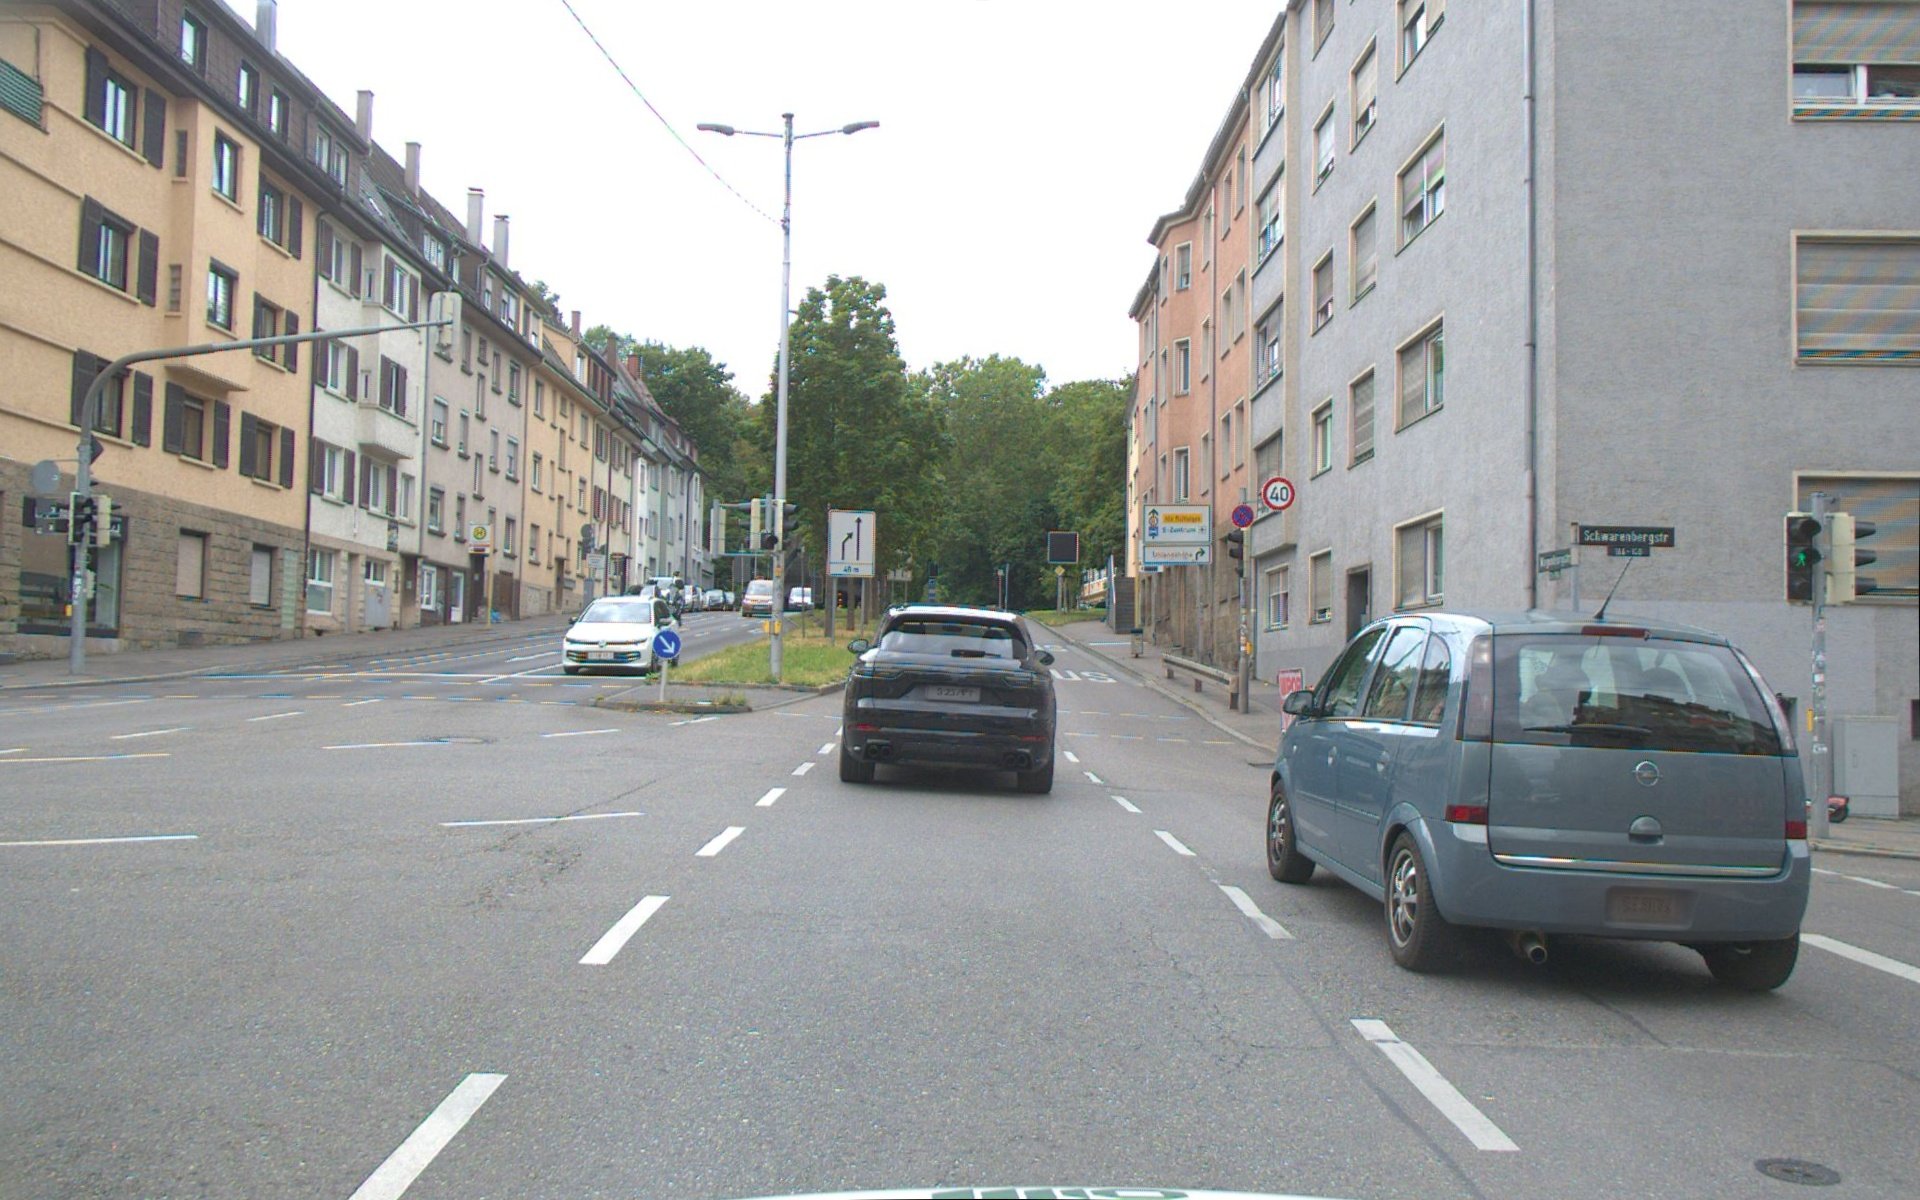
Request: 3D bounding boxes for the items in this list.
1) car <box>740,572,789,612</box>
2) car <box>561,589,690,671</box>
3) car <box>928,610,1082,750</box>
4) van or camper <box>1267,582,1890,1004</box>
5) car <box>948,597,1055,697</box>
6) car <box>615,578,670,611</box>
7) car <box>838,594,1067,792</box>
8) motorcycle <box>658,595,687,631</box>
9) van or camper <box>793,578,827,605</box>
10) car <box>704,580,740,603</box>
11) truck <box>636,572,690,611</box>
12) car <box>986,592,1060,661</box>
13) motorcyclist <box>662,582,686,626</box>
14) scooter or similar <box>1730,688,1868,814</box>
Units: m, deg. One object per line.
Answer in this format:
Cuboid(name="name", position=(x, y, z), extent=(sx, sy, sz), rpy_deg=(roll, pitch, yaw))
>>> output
Cuboid(name="car", position=(-9.707, -0.381, 82.328), extent=(1.841, 1.847, 4.351), rpy_deg=(2, 0, 0))
Cuboid(name="car", position=(-6.630, 0.550, 33.221), extent=(1.710, 1.493, 4.585), rpy_deg=(1, 0, -1))
Cuboid(name="car", position=(0.600, 1.004, 22.484), extent=(1.894, 1.682, 4.001), rpy_deg=(0, 0, 1))
Cuboid(name="van or camper", position=(2.792, 0.760, 8.372), extent=(1.700, 1.605, 3.645), rpy_deg=(2, 0, -1))
Cuboid(name="car", position=(0.776, 0.839, 31.481), extent=(1.894, 1.682, 4.001), rpy_deg=(0, 1, 1))
Cuboid(name="car", position=(-15.512, -0.264, 81.058), extent=(1.953, 1.579, 4.157), rpy_deg=(1, 0, -1))
Cuboid(name="car", position=(-0.028, 0.809, 16.175), extent=(1.952, 1.682, 4.000), rpy_deg=(0, 0, 1))
Cuboid(name="motorcycle", position=(-9.942, 0.452, 57.304), extent=(0.533, 1.205, 2.205), rpy_deg=(2, -1, 1))
Cuboid(name="van or camper", position=(-10.395, -0.581, 114.622), extent=(1.869, 1.792, 4.654), rpy_deg=(2, 0, 0))
Cuboid(name="car", position=(-15.372, -0.534, 106.987), extent=(1.954, 1.448, 4.208), rpy_deg=(1, 0, -4))
Cuboid(name="truck", position=(-15.589, -0.424, 87.136), extent=(1.953, 1.953, 5.346), rpy_deg=(1, 0, -1))
Cuboid(name="car", position=(1.666, 0.674, 44.579), extent=(1.894, 1.682, 4.001), rpy_deg=(0, 1, 1))
Cuboid(name="motorcyclist", position=(-9.931, 0.138, 57.468), extent=(0.659, 1.501, 0.662), rpy_deg=(2, -1, 1))
Cuboid(name="scooter or similar", position=(9.128, 1.626, 18.009), extent=(1.231, 1.237, 0.599), rpy_deg=(2, -1, 36))
